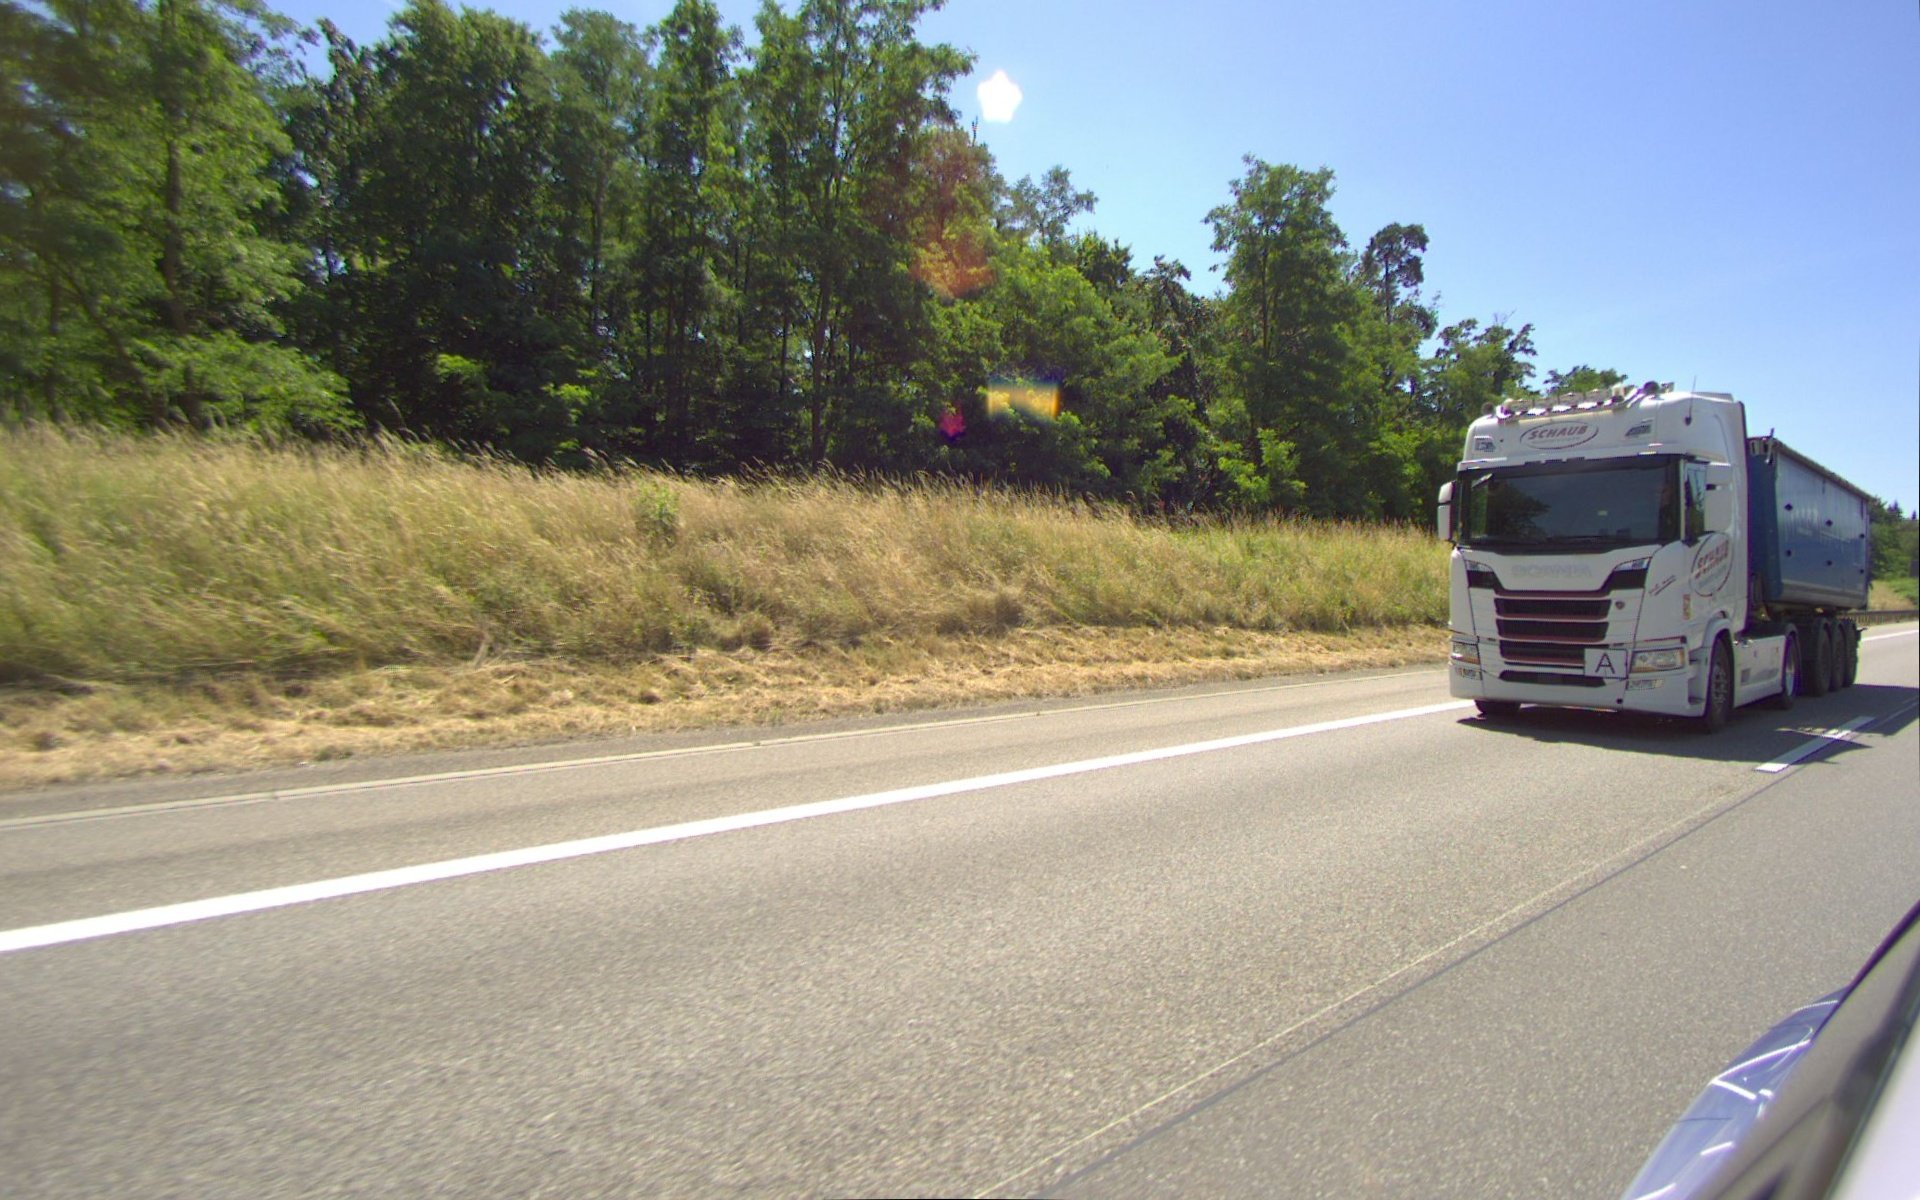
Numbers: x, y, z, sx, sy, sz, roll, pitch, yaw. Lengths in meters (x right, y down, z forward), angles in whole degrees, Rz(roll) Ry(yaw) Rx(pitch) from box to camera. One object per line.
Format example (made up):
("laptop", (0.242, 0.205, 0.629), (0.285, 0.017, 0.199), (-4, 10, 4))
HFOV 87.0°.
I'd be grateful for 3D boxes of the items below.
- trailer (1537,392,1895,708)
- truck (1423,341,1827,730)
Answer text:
("trailer", (12.431, -0.592, 16.180), (8.949, 3.806, 2.742), (1, 0, -41))
("truck", (8.597, -0.636, 12.830), (5.838, 3.806, 2.690), (1, 0, -40))
